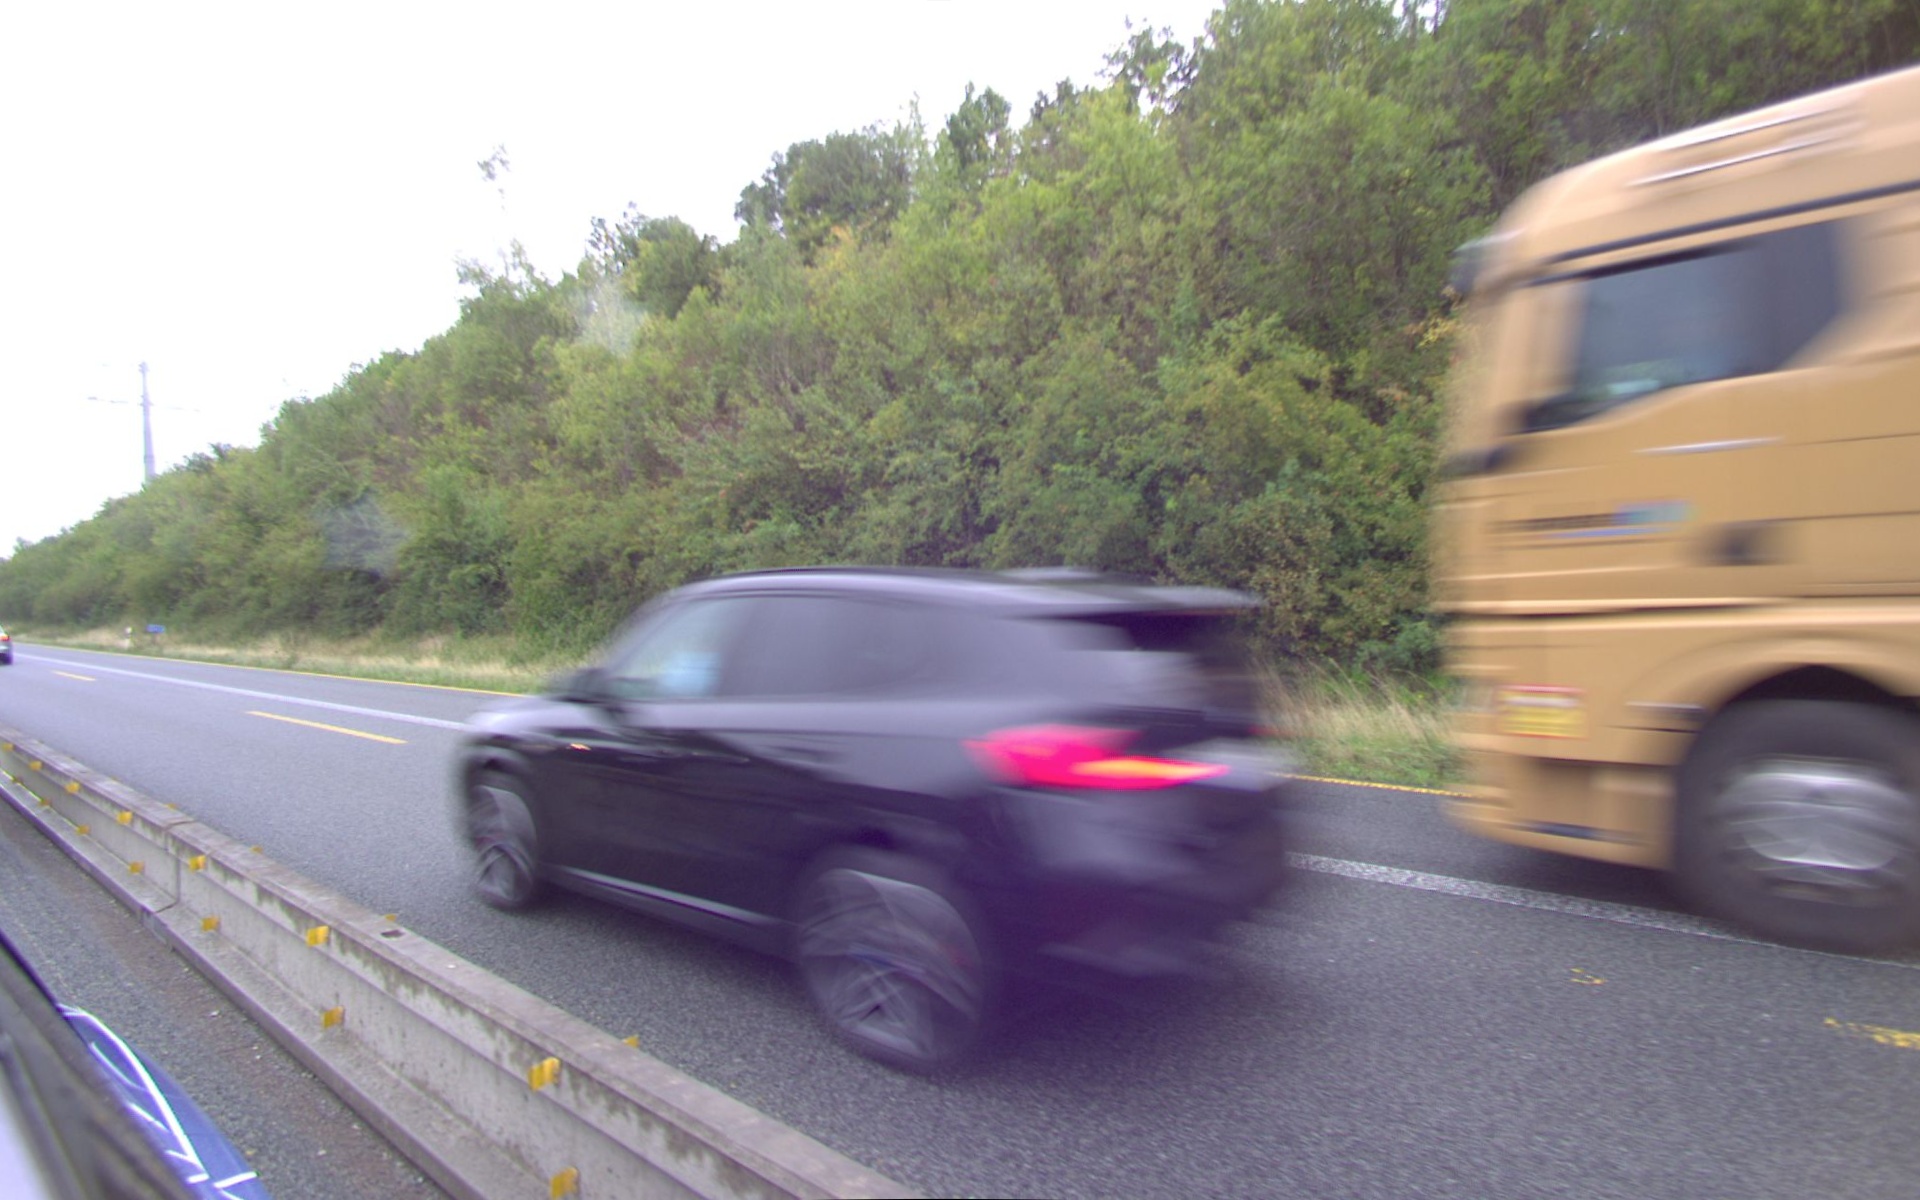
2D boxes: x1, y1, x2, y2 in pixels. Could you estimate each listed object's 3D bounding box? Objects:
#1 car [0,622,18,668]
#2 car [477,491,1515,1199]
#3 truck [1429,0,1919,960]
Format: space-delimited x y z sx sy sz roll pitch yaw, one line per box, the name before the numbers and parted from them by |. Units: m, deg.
car | -32.403 1.464 33.162 4.325 1.454 1.762 -1 0 40
car | -0.176 0.587 4.286 4.118 1.619 1.915 -1 0 41
truck | 7.739 -0.565 1.773 12.306 3.684 2.653 -1 0 42
